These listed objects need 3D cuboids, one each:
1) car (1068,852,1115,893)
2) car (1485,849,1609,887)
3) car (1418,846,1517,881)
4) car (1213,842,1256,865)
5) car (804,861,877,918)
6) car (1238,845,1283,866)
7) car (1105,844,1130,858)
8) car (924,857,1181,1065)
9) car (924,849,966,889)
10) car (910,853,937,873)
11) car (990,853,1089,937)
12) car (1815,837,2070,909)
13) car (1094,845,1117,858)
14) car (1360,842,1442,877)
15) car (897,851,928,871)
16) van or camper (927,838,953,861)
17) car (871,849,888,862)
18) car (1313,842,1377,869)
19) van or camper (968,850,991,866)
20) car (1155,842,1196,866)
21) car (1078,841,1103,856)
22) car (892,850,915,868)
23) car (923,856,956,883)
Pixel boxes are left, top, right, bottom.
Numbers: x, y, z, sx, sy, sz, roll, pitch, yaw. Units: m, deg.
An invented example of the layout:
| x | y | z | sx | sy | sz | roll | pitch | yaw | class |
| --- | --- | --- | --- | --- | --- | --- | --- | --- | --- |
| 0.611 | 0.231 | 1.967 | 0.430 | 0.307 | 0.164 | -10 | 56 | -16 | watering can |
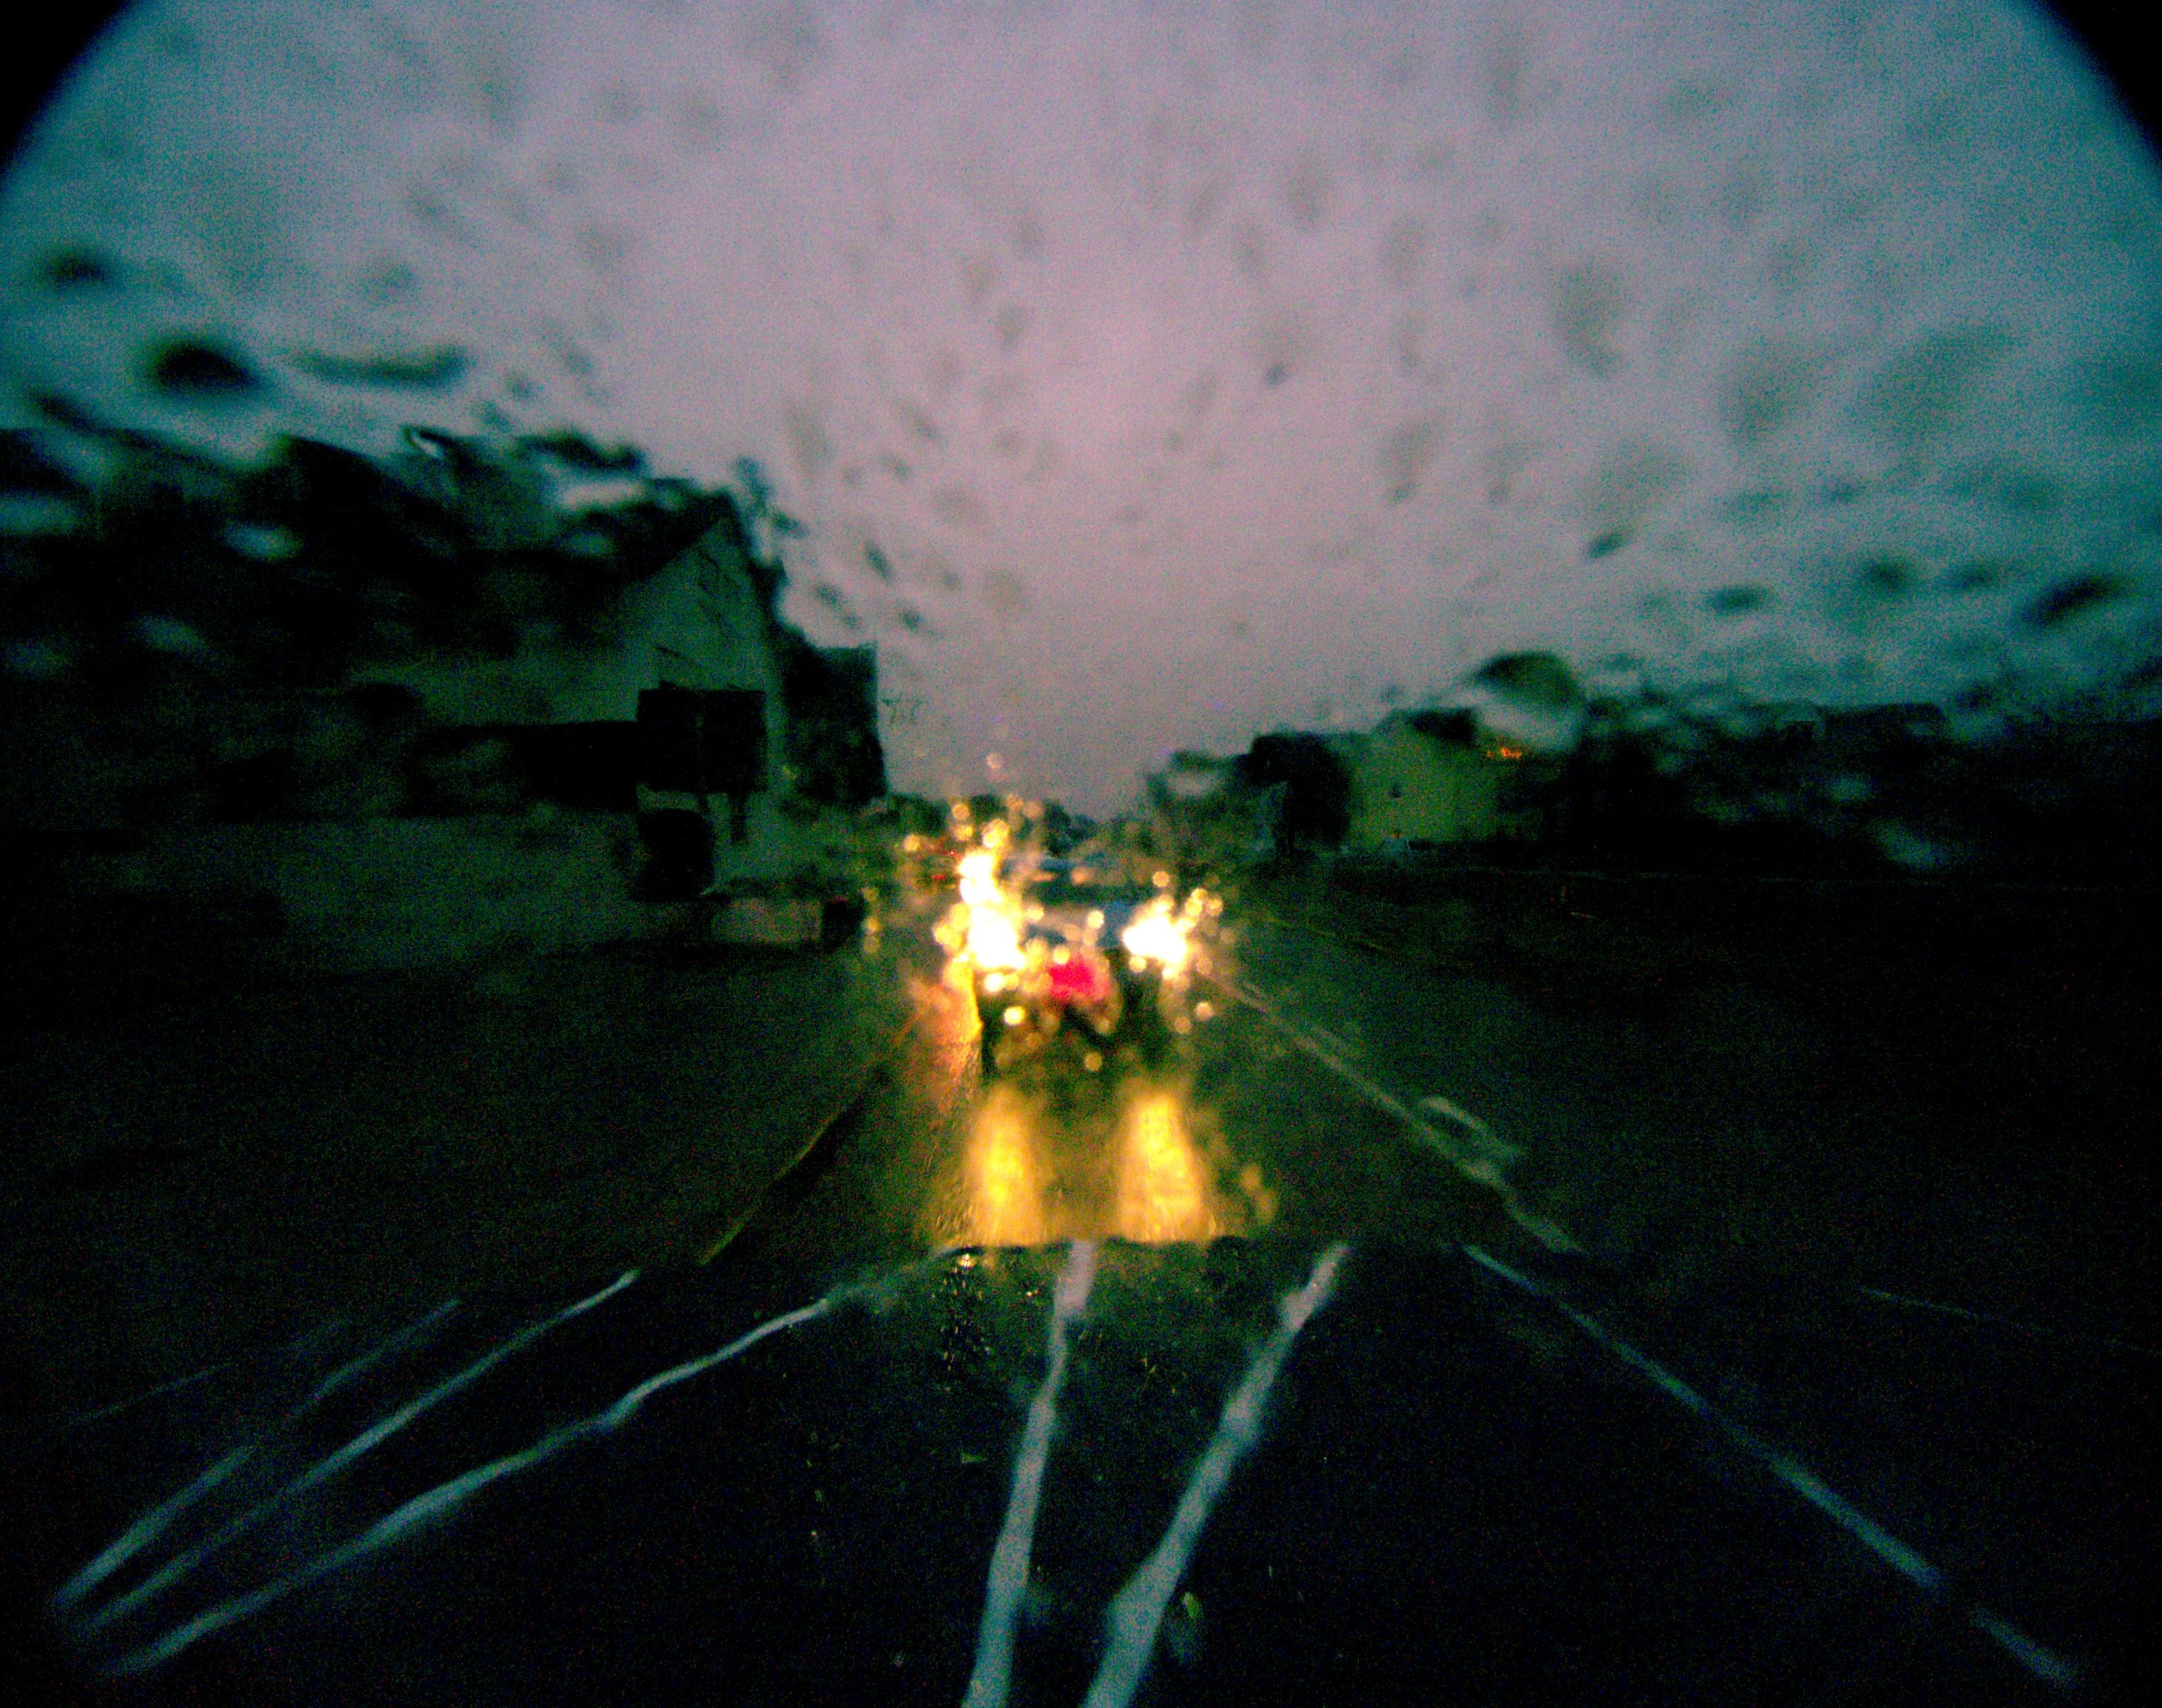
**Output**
| x | y | z | sx | sy | sz | roll | pitch | yaw | class |
| --- | --- | --- | --- | --- | --- | --- | --- | --- | --- |
| 0.391 | 0.738 | 32.608 | 1.742 | 1.643 | 3.998 | -1 | 0 | -3 | car |
| 19.047 | 0.535 | 31.326 | 1.880 | 1.425 | 4.497 | 0 | 0 | -10 | car |
| 18.327 | 0.445 | 36.257 | 1.880 | 1.563 | 4.497 | 0 | 0 | -10 | car |
| 12.510 | -0.071 | 62.251 | 1.865 | 1.672 | 3.995 | -4 | 2 | -13 | car |
| -6.786 | 0.926 | 21.374 | 1.772 | 1.385 | 3.907 | 0 | 0 | -18 | car |
| 13.726 | 0.080 | 58.295 | 1.775 | 1.515 | 4.026 | -1 | 1 | -13 | car |
| 4.474 | -0.338 | 93.838 | 1.823 | 1.615 | 3.979 | -4 | 1 | -14 | car |
| -0.374 | 0.870 | 8.158 | 1.999 | 1.526 | 3.998 | -3 | 1 | -5 | car |
| -6.373 | 0.664 | 35.818 | 1.775 | 1.771 | 3.996 | 1 | 0 | -9 | car |
| -11.846 | 0.643 | 57.013 | 1.659 | 1.446 | 4.231 | 1 | 0 | -16 | car |
| -1.106 | 0.817 | 17.616 | 1.907 | 1.630 | 4.563 | -2 | 0 | -7 | car |
| 20.732 | 0.384 | 18.543 | 1.570 | 1.571 | 3.817 | 0 | 1 | -10 | car |
| 3.213 | -0.316 | 98.703 | 1.903 | 1.509 | 3.994 | -4 | 3 | -13 | car |
| 17.290 | 0.279 | 41.330 | 1.880 | 1.768 | 4.496 | 0 | 0 | -12 | car |
| -14.949 | 0.589 | 67.224 | 1.964 | 1.524 | 5.000 | -4 | 2 | -19 | car |
| -16.887 | -0.541 | 90.729 | 2.249 | 2.653 | 6.544 | -1 | 0 | -18 | van or camper |
| -26.603 | 0.193 | 100.086 | 1.815 | 1.555 | 4.297 | -1 | 1 | -20 | car |
| 16.240 | 0.072 | 46.978 | 1.880 | 1.589 | 4.220 | 0 | 0 | -12 | car |
| -8.967 | 0.310 | 66.647 | 1.568 | 1.347 | 3.417 | -1 | 0 | -15 | van or camper |
| 7.451 | -0.063 | 60.300 | 1.806 | 1.793 | 3.854 | -1 | 2 | -17 | car |
| 1.291 | -0.728 | 105.844 | 2.001 | 1.894 | 4.350 | -5 | 2 | -20 | car |
| -17.216 | 0.455 | 73.691 | 1.671 | 1.567 | 4.489 | -1 | 1 | -19 | car |
| -7.747 | 0.803 | 41.461 | 1.651 | 1.407 | 2.724 | 1 | 0 | -13 | car |
